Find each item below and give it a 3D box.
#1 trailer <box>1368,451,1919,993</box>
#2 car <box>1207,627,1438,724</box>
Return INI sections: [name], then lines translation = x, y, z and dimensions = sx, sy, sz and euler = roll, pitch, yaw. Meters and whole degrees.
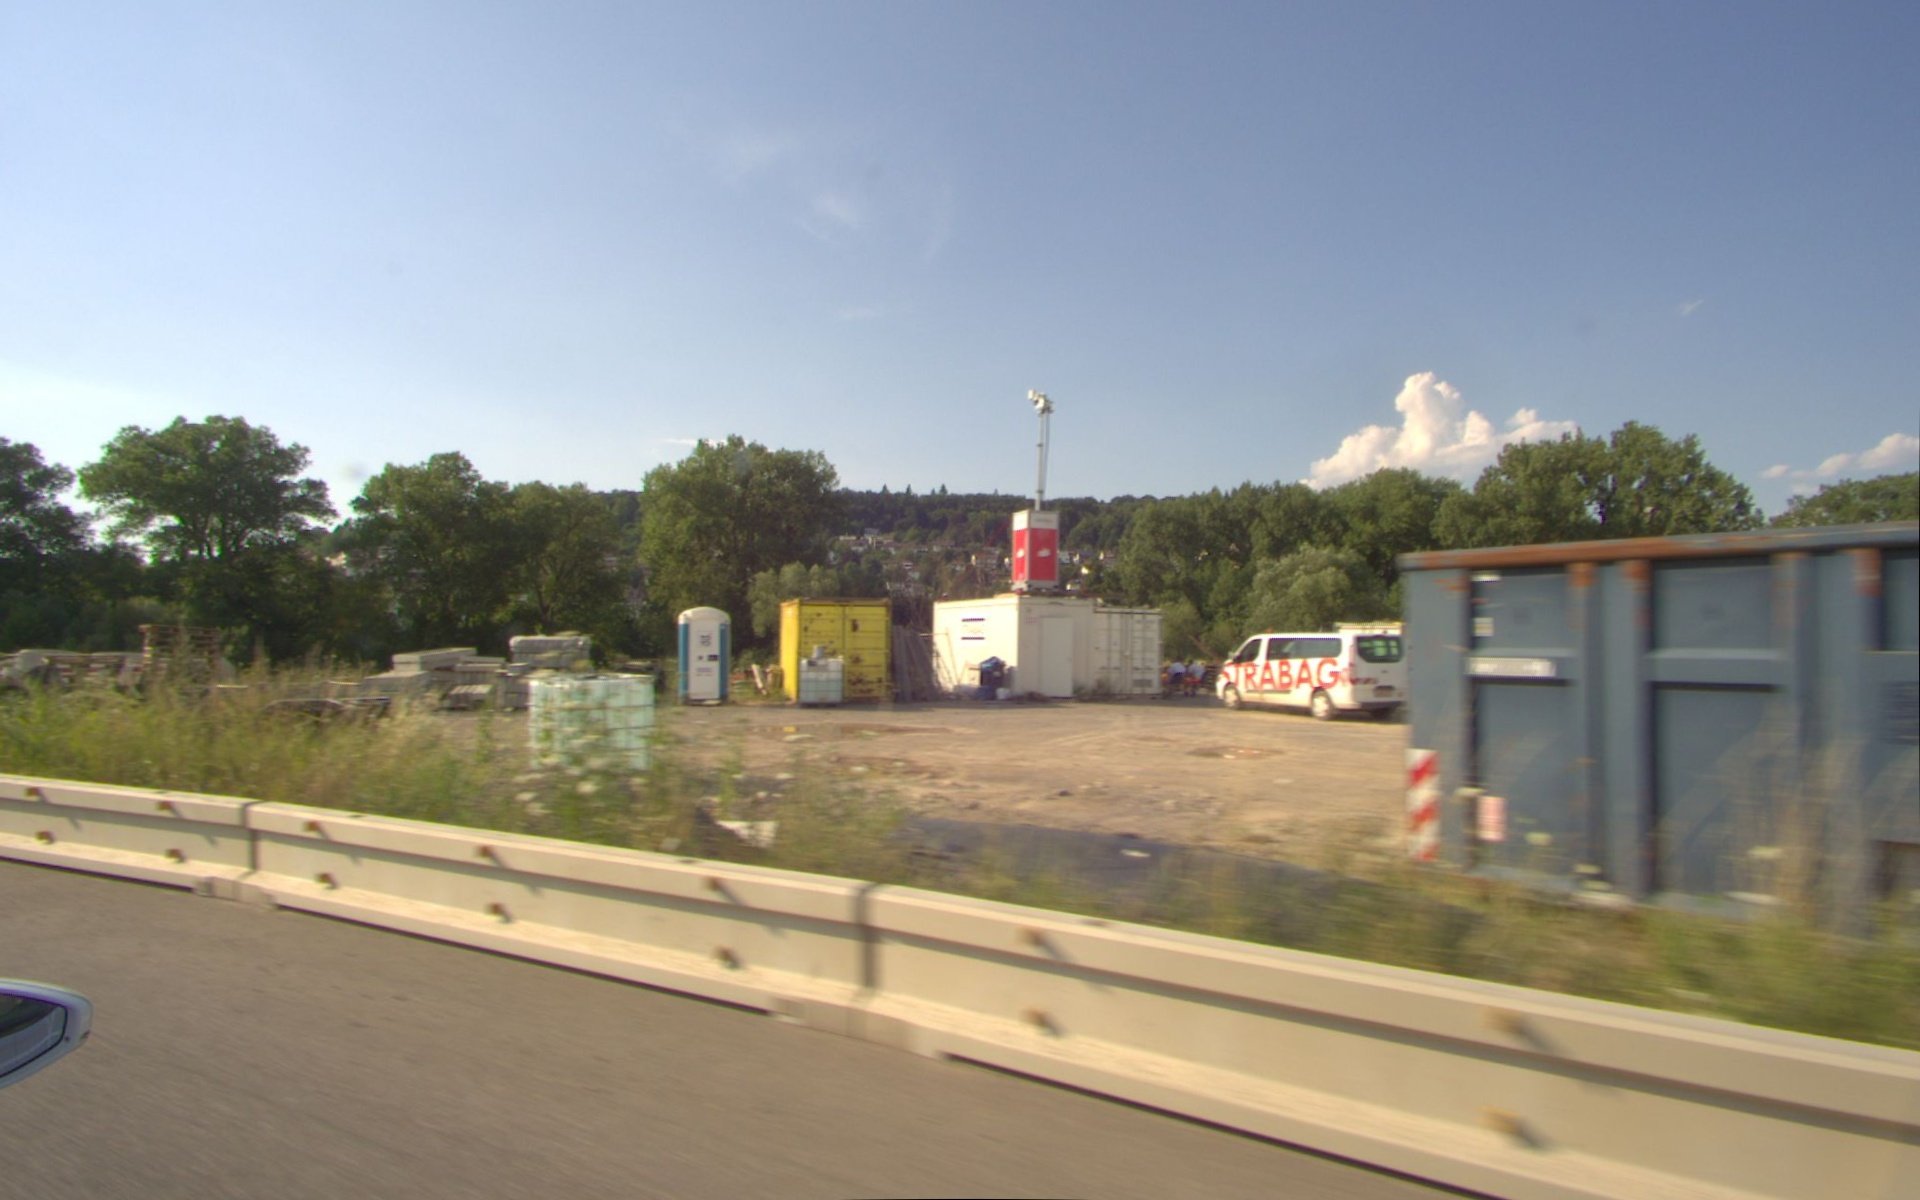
[trailer]
translation = 6.112, 0.589, 4.809
dimensions = 2.985, 2.443, 7.162
euler = 4, -4, -43
[car]
translation = 8.690, 1.773, 24.639
dimensions = 2.446, 2.105, 5.306
euler = 1, -3, -22
